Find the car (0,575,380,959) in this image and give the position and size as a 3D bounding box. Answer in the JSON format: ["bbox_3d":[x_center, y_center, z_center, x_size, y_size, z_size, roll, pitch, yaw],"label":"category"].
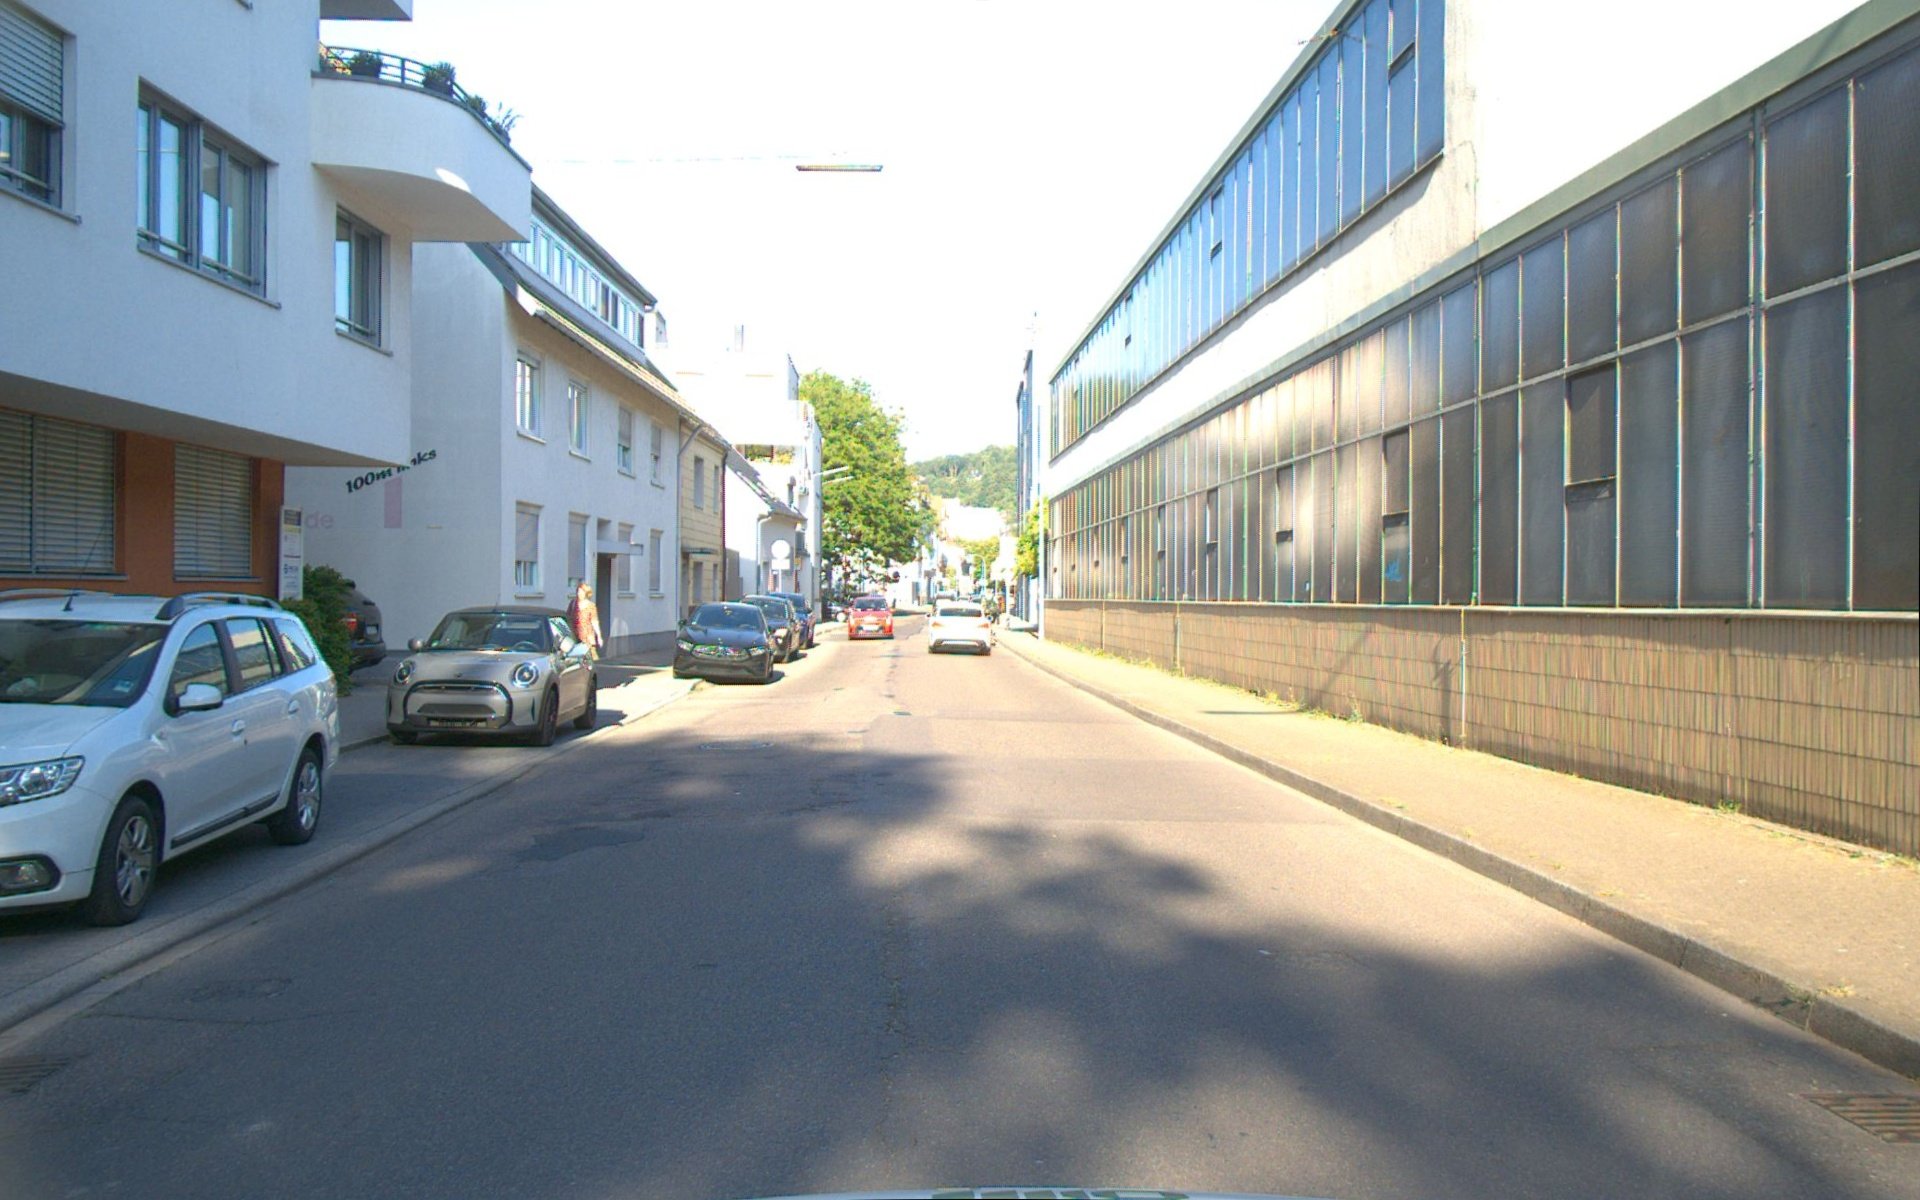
[{"bbox_3d":[-4.839,0.693,9.273,1.821,1.615,4.616,3,-1,-5],"label":"car"}]

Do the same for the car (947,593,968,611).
[{"bbox_3d":[-0.220,0.175,146.086,1.805,1.517,4.143,1,0,-1],"label":"car"}]

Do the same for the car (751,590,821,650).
[{"bbox_3d":[-5.290,0.585,50.794,1.772,1.614,4.192,3,1,-2],"label":"car"}]

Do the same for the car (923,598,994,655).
[{"bbox_3d":[-0.084,0.733,46.806,1.805,1.517,4.142,1,0,-3],"label":"car"}]

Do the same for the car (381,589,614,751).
[{"bbox_3d":[-5.090,0.724,18.687,1.634,1.562,3.855,3,-1,-3],"label":"car"}]

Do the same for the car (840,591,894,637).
[{"bbox_3d":[-3.300,0.500,59.203,1.805,1.517,4.142,1,0,-2],"label":"car"}]

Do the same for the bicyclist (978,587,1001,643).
[{"bbox_3d":[0.968,0.489,54.205,0.684,1.821,1.040,1,-1,-1],"label":"bicyclist"}]

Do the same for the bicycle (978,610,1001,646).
[{"bbox_3d":[0.960,0.910,54.179,0.684,1.150,2.402,1,-1,0],"label":"bicycle"}]

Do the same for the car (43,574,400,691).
[{"bbox_3d":[-11.123,0.456,25.189,4.514,1.667,2.013,0,1,-4],"label":"car"}]

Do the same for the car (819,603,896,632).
[{"bbox_3d":[-5.692,0.993,92.396,4.043,1.517,1.849,1,-1,5],"label":"car"}]

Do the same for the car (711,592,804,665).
[{"bbox_3d":[-5.032,0.667,41.664,1.820,1.614,4.335,3,1,-1],"label":"car"}]

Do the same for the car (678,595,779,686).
[{"bbox_3d":[-4.374,0.737,31.697,1.652,1.562,4.330,3,-1,-5],"label":"car"}]

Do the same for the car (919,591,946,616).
[{"bbox_3d":[-2.116,0.243,125.187,1.816,1.823,4.604,1,0,-4],"label":"car"}]

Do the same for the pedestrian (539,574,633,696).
[{"bbox_3d":[-5.955,0.548,26.379,0.844,1.850,1.132,4,0,22],"label":"pedestrian"}]

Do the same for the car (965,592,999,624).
[{"bbox_3d":[1.139,0.439,88.686,1.597,1.615,4.067,-2,0,-2],"label":"car"}]

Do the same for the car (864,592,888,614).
[{"bbox_3d":[-6.299,0.221,124.113,1.670,1.603,3.912,1,0,-2],"label":"car"}]
